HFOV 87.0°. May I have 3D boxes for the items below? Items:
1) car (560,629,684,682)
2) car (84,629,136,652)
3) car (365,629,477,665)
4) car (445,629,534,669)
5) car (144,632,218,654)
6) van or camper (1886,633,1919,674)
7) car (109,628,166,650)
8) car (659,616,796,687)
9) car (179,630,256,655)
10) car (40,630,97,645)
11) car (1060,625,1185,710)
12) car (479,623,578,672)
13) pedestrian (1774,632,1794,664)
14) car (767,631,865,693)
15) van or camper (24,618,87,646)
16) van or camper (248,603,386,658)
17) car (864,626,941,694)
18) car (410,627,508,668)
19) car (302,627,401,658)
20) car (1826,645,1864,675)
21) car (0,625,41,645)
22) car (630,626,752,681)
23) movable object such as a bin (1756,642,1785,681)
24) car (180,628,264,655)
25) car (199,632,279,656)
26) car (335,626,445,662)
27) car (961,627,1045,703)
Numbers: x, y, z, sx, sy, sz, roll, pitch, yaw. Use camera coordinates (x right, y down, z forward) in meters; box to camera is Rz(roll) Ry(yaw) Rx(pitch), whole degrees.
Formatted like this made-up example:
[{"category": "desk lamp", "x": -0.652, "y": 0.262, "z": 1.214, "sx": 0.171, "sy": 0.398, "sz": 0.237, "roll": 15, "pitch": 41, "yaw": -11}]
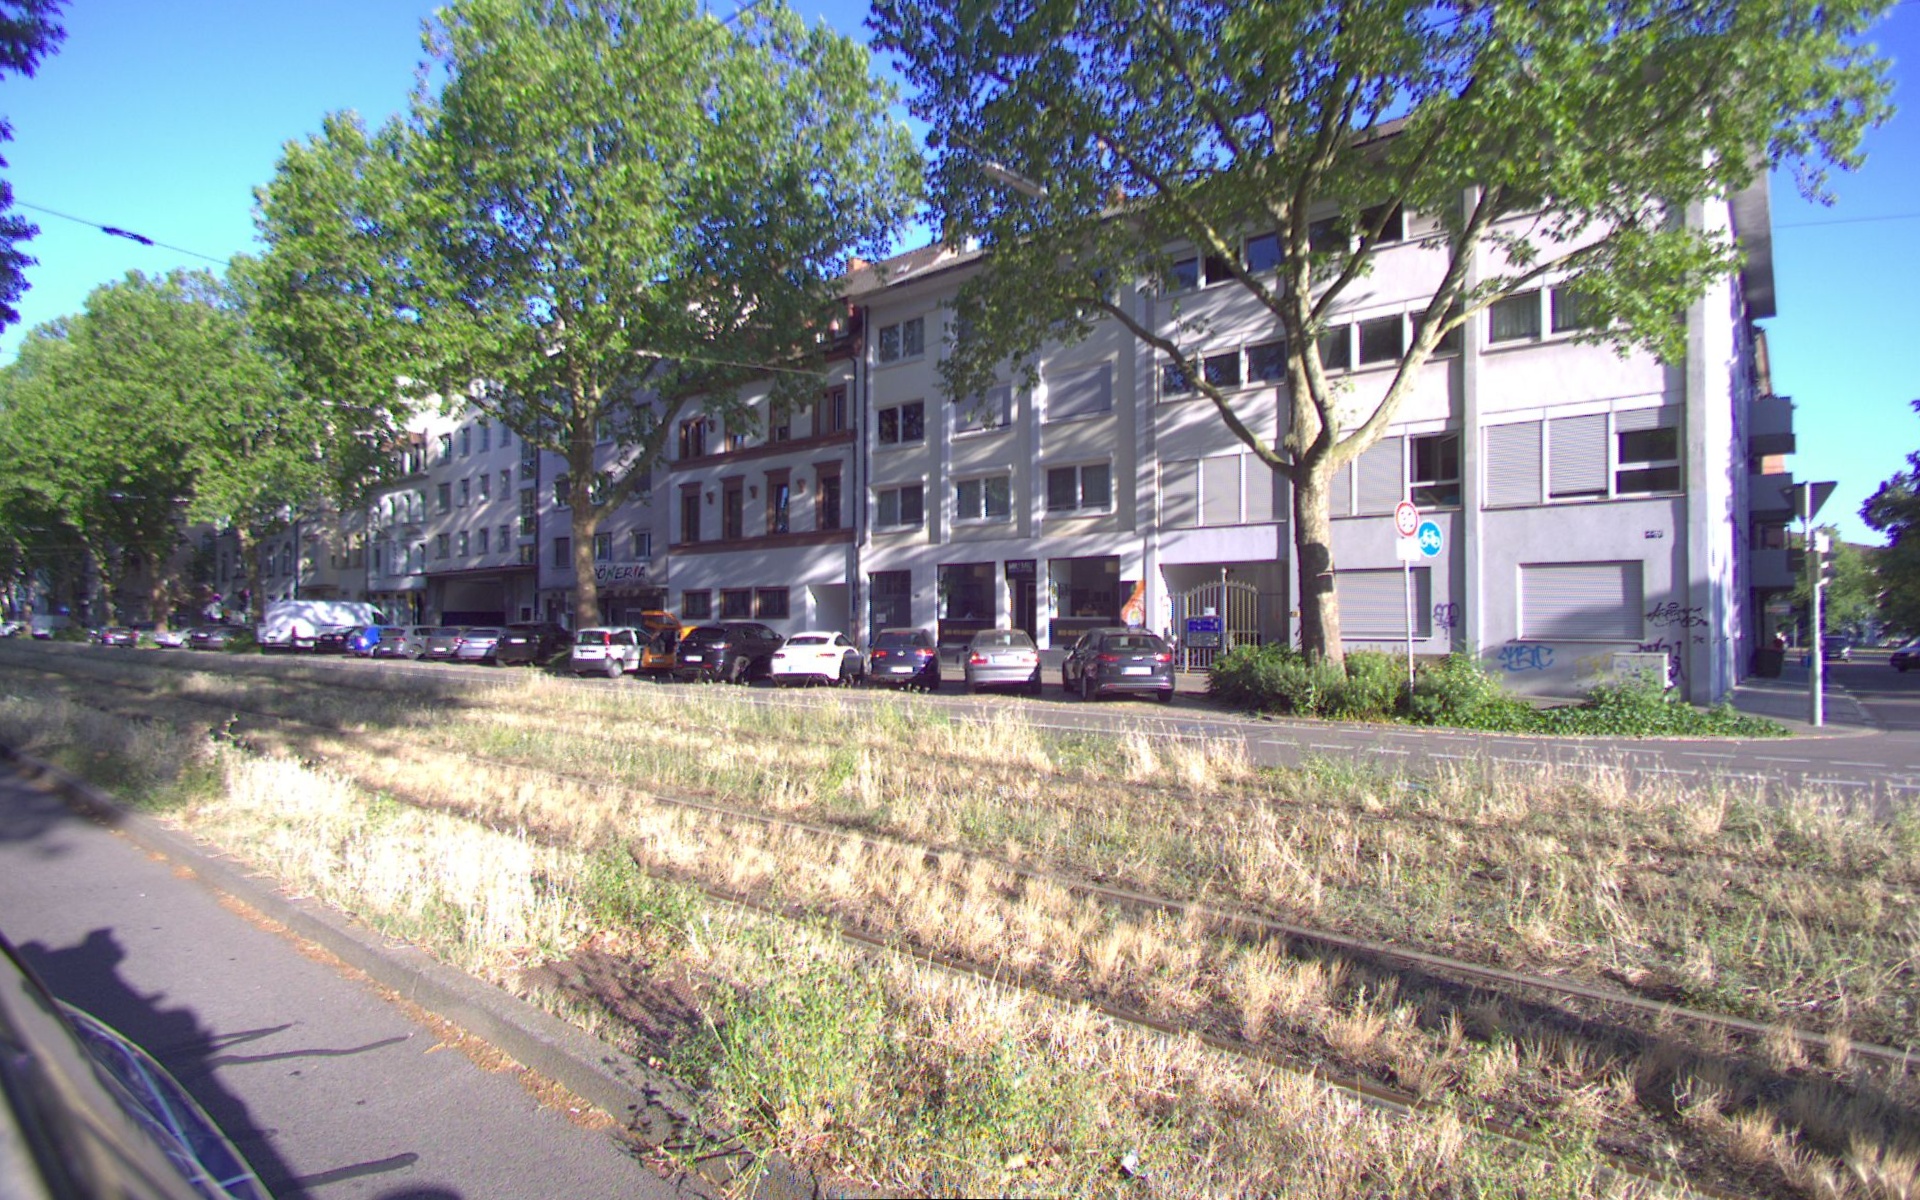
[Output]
[{"category": "car", "x": -10.457, "y": 1.687, "z": 31.691, "sx": 1.643, "sy": 1.460, "sz": 4.345, "roll": 0, "pitch": -1, "yaw": 14}, {"category": "car", "x": -56.585, "y": 2.684, "z": 67.348, "sx": 4.480, "sy": 1.400, "sz": 1.802, "roll": -1, "pitch": -4, "yaw": 40}, {"category": "car", "x": -23.596, "y": 2.034, "z": 44.431, "sx": 1.941, "sy": 1.503, "sz": 3.964, "roll": -1, "pitch": -2, "yaw": 27}, {"category": "car", "x": -18.290, "y": 1.880, "z": 39.524, "sx": 1.883, "sy": 1.396, "sz": 4.004, "roll": -1, "pitch": -1, "yaw": -5}, {"category": "car", "x": -51.779, "y": 2.822, "z": 67.339, "sx": 1.806, "sy": 1.400, "sz": 3.670, "roll": 0, "pitch": -2, "yaw": 9}, {"category": "van or camper", "x": 50.124, "y": 2.659, "z": 50.811, "sx": 5.075, "sy": 2.029, "sz": 1.995, "roll": 0, "pitch": -2, "yaw": 8}, {"category": "car", "x": -63.503, "y": 3.028, "z": 78.204, "sx": 1.703, "sy": 1.666, "sz": 4.008, "roll": 0, "pitch": -2, "yaw": -10}, {"category": "car", "x": -6.454, "y": 1.461, "z": 28.601, "sx": 1.975, "sy": 1.800, "sz": 4.343, "roll": 1, "pitch": -3, "yaw": 14}, {"category": "car", "x": -47.723, "y": 2.779, "z": 65.173, "sx": 1.803, "sy": 1.545, "sz": 3.994, "roll": 0, "pitch": -3, "yaw": 4}, {"category": "car", "x": -86.009, "y": 3.618, "z": 97.688, "sx": 1.709, "sy": 1.256, "sz": 3.993, "roll": -1, "pitch": 1, "yaw": 6}, {"category": "car", "x": 3.300, "y": 1.336, "z": 21.283, "sx": 1.791, "sy": 1.490, "sz": 4.002, "roll": -1, "pitch": 0, "yaw": -2}, {"category": "car", "x": -15.676, "y": 1.683, "z": 37.013, "sx": 1.972, "sy": 1.673, "sz": 4.000, "roll": -1, "pitch": -1, "yaw": -1}, {"category": "pedestrian", "x": 45.866, "y": 2.684, "z": 56.321, "sx": 0.684, "sy": 1.764, "sz": 0.638, "roll": -1, "pitch": -2, "yaw": 22}, {"category": "car", "x": -3.689, "y": 1.573, "z": 26.682, "sx": 1.700, "sy": 1.343, "sz": 4.200, "roll": -1, "pitch": 0, "yaw": 4}, {"category": "van or camper", "x": -88.315, "y": 3.083, "z": 98.891, "sx": 2.171, "sy": 2.418, "sz": 4.364, "roll": -1, "pitch": 1, "yaw": 0}, {"category": "van or camper", "x": -33.104, "y": 1.589, "z": 52.364, "sx": 2.162, "sy": 2.666, "sz": 5.929, "roll": -1, "pitch": -2, "yaw": 19}, {"category": "car", "x": -1.436, "y": 1.459, "z": 25.678, "sx": 1.776, "sy": 1.452, "sz": 4.002, "roll": -1, "pitch": 0, "yaw": -3}, {"category": "car", "x": -20.532, "y": 1.914, "z": 41.665, "sx": 1.735, "sy": 1.433, "sz": 3.993, "roll": -1, "pitch": 0, "yaw": 6}, {"category": "car", "x": -30.739, "y": 2.128, "z": 51.253, "sx": 1.984, "sy": 1.502, "sz": 3.975, "roll": -1, "pitch": -2, "yaw": 18}, {"category": "car", "x": 63.367, "y": 4.280, "z": 72.458, "sx": 1.999, "sy": 2.029, "sz": 3.945, "roll": -1, "pitch": -2, "yaw": 41}, {"category": "car", "x": -107.373, "y": 3.973, "z": 115.154, "sx": 1.971, "sy": 2.029, "sz": 4.002, "roll": -1, "pitch": 0, "yaw": -2}, {"category": "car", "x": -8.356, "y": 1.620, "z": 31.790, "sx": 1.764, "sy": 1.490, "sz": 3.974, "roll": -1, "pitch": 0, "yaw": 20}, {"category": "movable object such as a bin", "x": 27.831, "y": 2.107, "z": 34.735, "sx": 0.745, "sy": 1.315, "sz": 0.861, "roll": -1, "pitch": -2, "yaw": 39}, {"category": "car", "x": -45.524, "y": 2.602, "z": 62.544, "sx": 1.912, "sy": 1.605, "sz": 4.155, "roll": 0, "pitch": -4, "yaw": 4}, {"category": "car", "x": -42.996, "y": 2.632, "z": 60.443, "sx": 1.778, "sy": 1.368, "sz": 4.002, "roll": 0, "pitch": -3, "yaw": 3}, {"category": "car", "x": -25.973, "y": 1.956, "z": 46.198, "sx": 1.854, "sy": 1.431, "sz": 3.951, "roll": -1, "pitch": 0, "yaw": 36}, {"category": "car", "x": 0.905, "y": 1.422, "z": 23.273, "sx": 1.698, "sy": 1.452, "sz": 4.000, "roll": -1, "pitch": 0, "yaw": -1}]
